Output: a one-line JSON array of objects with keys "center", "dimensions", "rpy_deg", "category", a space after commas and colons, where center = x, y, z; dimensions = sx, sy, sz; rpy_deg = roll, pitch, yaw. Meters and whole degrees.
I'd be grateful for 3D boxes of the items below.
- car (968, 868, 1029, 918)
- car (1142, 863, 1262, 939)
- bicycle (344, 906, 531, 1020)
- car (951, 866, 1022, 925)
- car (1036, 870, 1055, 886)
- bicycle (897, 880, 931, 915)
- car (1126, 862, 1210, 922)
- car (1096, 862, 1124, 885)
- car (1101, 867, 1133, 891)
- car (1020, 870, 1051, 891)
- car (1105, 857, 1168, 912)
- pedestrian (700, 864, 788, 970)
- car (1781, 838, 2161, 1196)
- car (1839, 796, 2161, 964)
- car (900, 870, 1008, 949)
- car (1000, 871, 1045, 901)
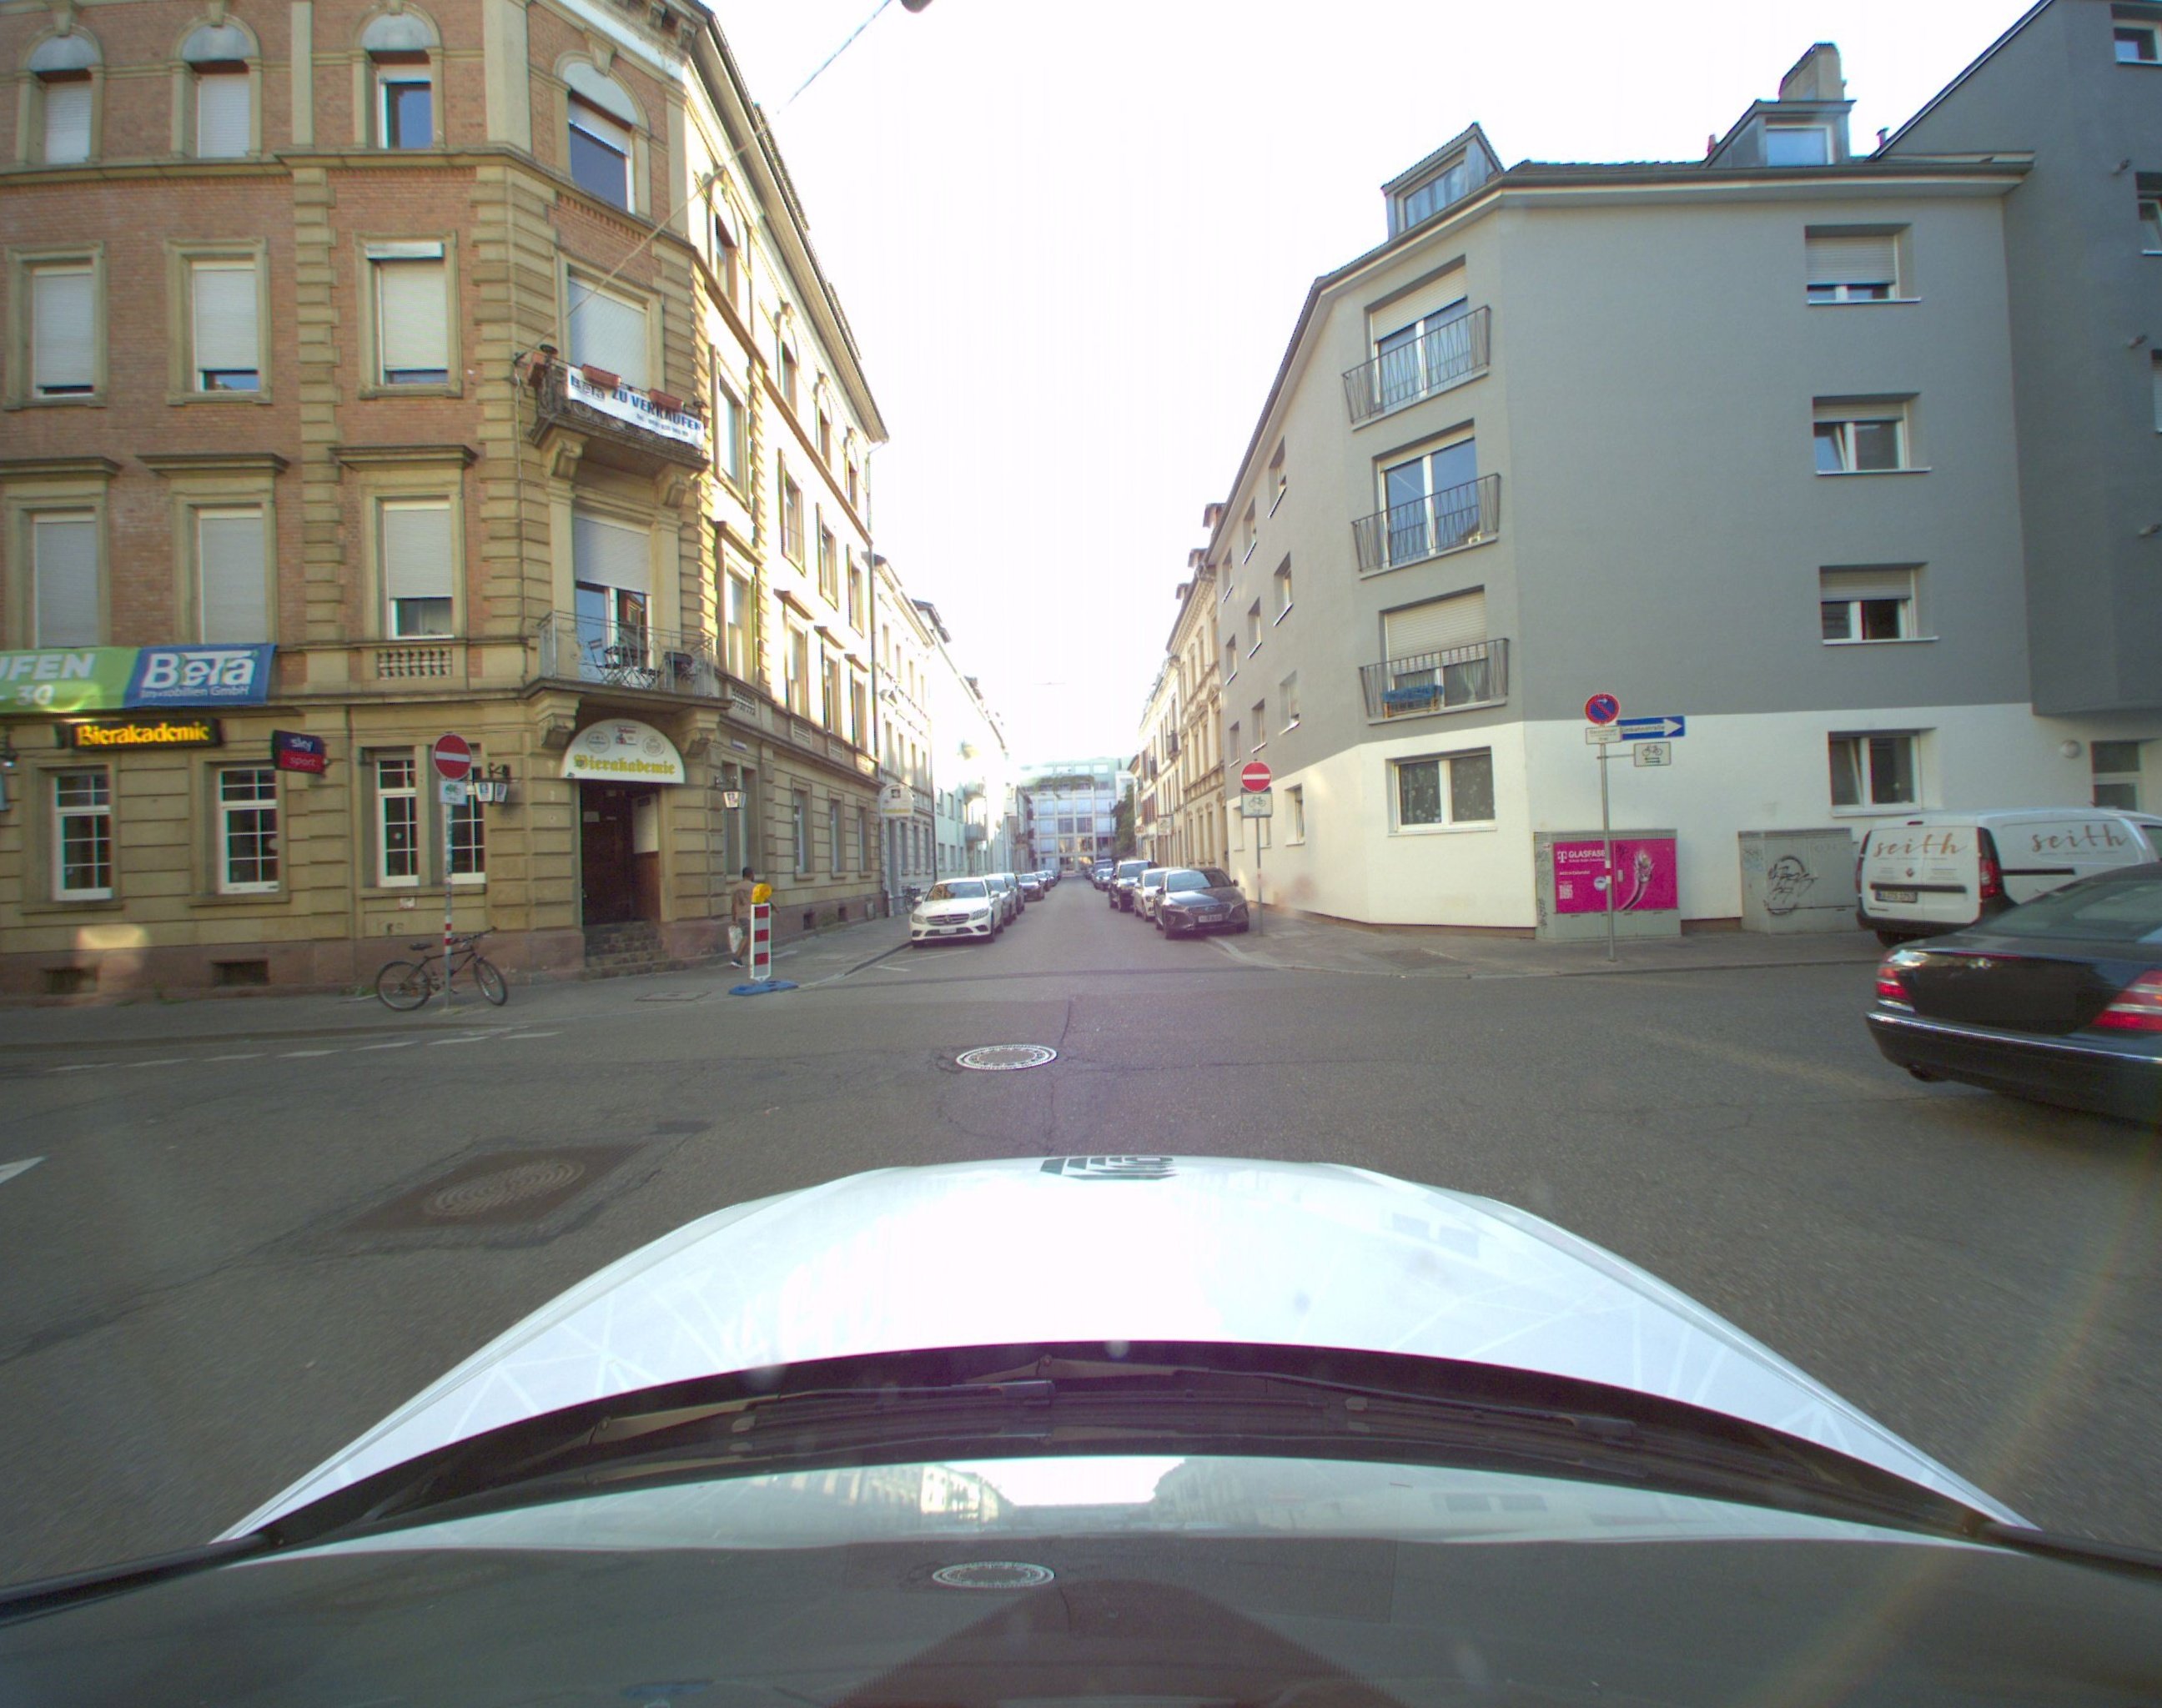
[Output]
[{"center": [-3.013, 1.408, 30.604], "dimensions": [1.779, 1.659, 3.817], "rpy_deg": [-2, -1, 1], "category": "car"}, {"center": [2.574, 0.967, 18.242], "dimensions": [1.933, 1.372, 3.786], "rpy_deg": [-4, -1, -2], "category": "car"}, {"center": [-8.300, 1.390, 10.567], "dimensions": [1.754, 1.275, 0.660], "rpy_deg": [-2, 2, -5], "category": "bicycle"}, {"center": [-2.801, 1.198, 24.872], "dimensions": [1.619, 1.577, 3.754], "rpy_deg": [-2, -1, 1], "category": "car"}, {"center": [-3.333, 2.243, 76.968], "dimensions": [1.702, 1.302, 3.997], "rpy_deg": [-2, -1, -2], "category": "car"}, {"center": [-6.245, 1.601, 30.534], "dimensions": [0.735, 1.161, 2.460], "rpy_deg": [-2, -1, -1], "category": "bicycle"}, {"center": [2.498, 1.076, 24.308], "dimensions": [1.958, 1.557, 3.887], "rpy_deg": [-2, -1, -1], "category": "car"}, {"center": [2.325, 1.546, 65.532], "dimensions": [1.988, 1.700, 3.998], "rpy_deg": [-2, -1, -1], "category": "car"}, {"center": [2.377, 1.655, 54.844], "dimensions": [1.987, 1.451, 4.000], "rpy_deg": [-2, -1, 0], "category": "car"}, {"center": [-3.309, 1.917, 59.876], "dimensions": [2.168, 1.418, 3.996], "rpy_deg": [-2, -1, -3], "category": "car"}, {"center": [1.946, 1.062, 29.716], "dimensions": [1.888, 1.784, 3.997], "rpy_deg": [-2, -1, -2], "category": "car"}, {"center": [-5.884, 1.063, 14.238], "dimensions": [0.972, 1.742, 1.023], "rpy_deg": [-3, -1, 34], "category": "pedestrian"}, {"center": [6.749, 0.593, 4.115], "dimensions": [4.695, 1.408, 1.891], "rpy_deg": [-2, -1, 2], "category": "car"}, {"center": [12.210, 0.260, 10.074], "dimensions": [4.160, 1.814, 1.635], "rpy_deg": [-2, -1, -2], "category": "car"}, {"center": [-2.886, 1.212, 19.469], "dimensions": [1.989, 1.564, 4.502], "rpy_deg": [-3, -1, -2], "category": "car"}, {"center": [-2.975, 1.635, 42.126], "dimensions": [1.988, 1.355, 4.427], "rpy_deg": [-2, -1, -1], "category": "car"}]
